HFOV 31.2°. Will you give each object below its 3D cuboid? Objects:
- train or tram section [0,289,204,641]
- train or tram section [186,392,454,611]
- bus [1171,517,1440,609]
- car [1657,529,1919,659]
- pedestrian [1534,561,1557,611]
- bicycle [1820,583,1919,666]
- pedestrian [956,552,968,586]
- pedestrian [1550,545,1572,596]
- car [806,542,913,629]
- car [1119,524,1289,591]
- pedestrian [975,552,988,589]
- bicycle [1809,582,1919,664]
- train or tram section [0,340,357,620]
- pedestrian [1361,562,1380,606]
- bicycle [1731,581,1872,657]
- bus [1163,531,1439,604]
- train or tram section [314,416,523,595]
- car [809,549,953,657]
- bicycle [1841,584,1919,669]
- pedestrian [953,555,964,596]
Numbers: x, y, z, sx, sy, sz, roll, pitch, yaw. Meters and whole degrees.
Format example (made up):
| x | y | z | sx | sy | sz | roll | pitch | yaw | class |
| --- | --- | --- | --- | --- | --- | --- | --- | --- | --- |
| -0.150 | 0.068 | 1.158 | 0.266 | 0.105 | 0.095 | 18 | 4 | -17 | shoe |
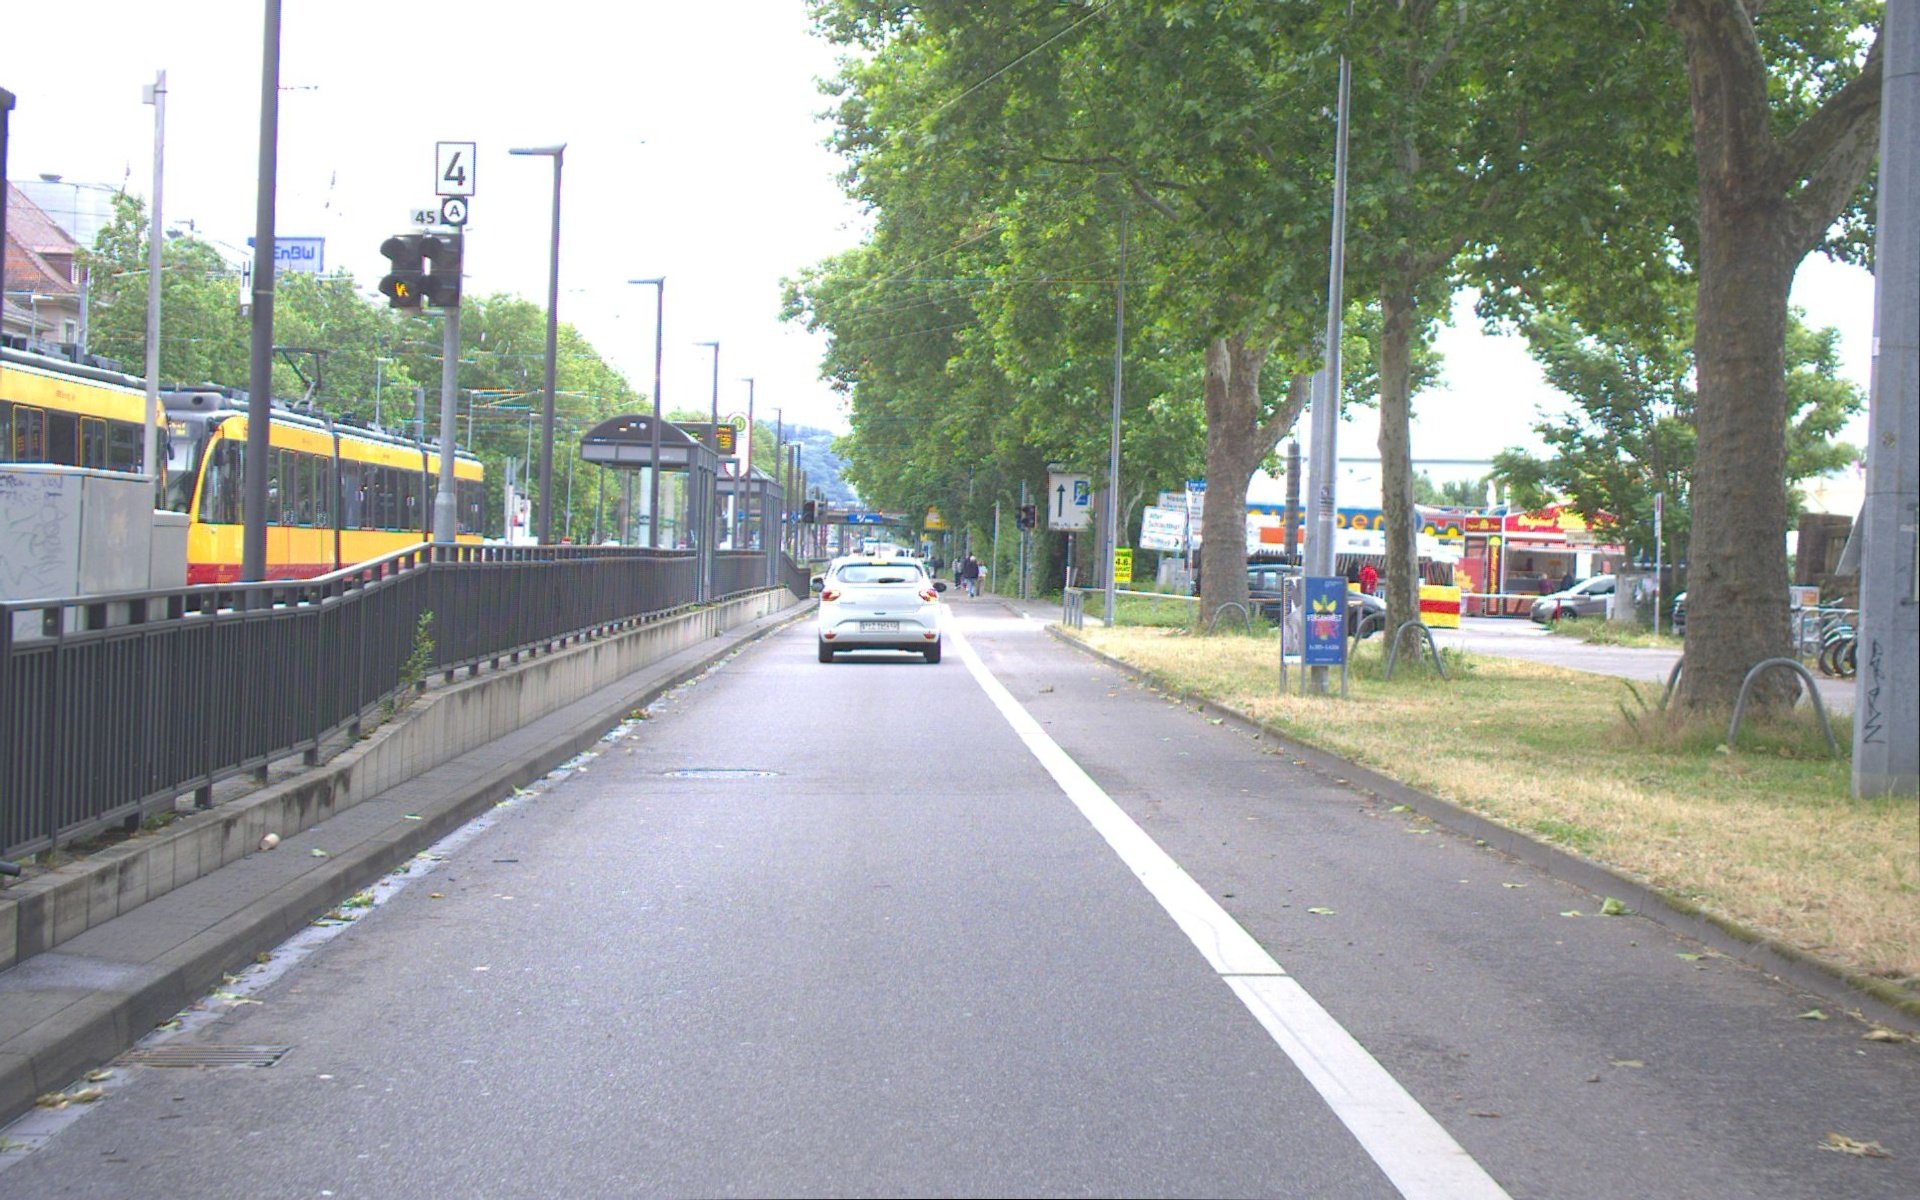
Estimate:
| x | y | z | sx | sy | sz | roll | pitch | yaw | class |
| --- | --- | --- | --- | --- | --- | --- | --- | --- | --- |
| -13.065 | -1.672 | 45.571 | 3.180 | 4.164 | 13.621 | 2 | 0 | -1 | train or tram section |
| -13.581 | -1.972 | 74.500 | 3.180 | 4.164 | 14.735 | 2 | 0 | -1 | train or tram section |
| 12.292 | -1.310 | 122.624 | 9.276 | 2.950 | 2.000 | 2 | 0 | -3 | bus |
| 18.044 | -0.118 | 72.826 | 6.022 | 2.547 | 2.100 | 2 | 0 | -2 | car |
| 19.640 | -0.469 | 115.309 | 0.522 | 1.681 | 0.494 | 2 | 0 | -17 | pedestrian |
| 12.451 | 0.326 | 45.673 | 1.900 | 1.093 | 0.550 | 0 | 0 | -3 | bicycle |
| 0.089 | -1.326 | 146.194 | 0.396 | 1.439 | 0.563 | 2 | 0 | 11 | pedestrian |
| 20.221 | -0.994 | 115.625 | 0.522 | 1.681 | 0.494 | 2 | 0 | -17 | pedestrian |
| -1.851 | -0.292 | 64.315 | 1.841 | 1.546 | 4.000 | 1 | 1 | 0 | car |
| 5.832 | -1.030 | 82.529 | 3.987 | 1.481 | 1.786 | 2 | 1 | 2 | car |
| 0.929 | -1.246 | 146.060 | 0.396 | 1.580 | 0.538 | 2 | 0 | 11 | pedestrian |
| 12.498 | 0.314 | 46.312 | 1.974 | 1.091 | 0.550 | 0 | 0 | -3 | bicycle |
| -13.315 | -1.877 | 59.752 | 3.180 | 4.164 | 14.735 | 2 | 0 | -1 | train or tram section |
| 13.528 | -0.525 | 113.388 | 0.492 | 1.458 | 0.524 | 2 | 0 | -4 | pedestrian |
| 12.293 | 0.278 | 50.251 | 1.921 | 1.087 | 0.550 | 0 | 0 | -3 | bicycle |
| 11.836 | -1.121 | 119.635 | 9.276 | 2.220 | 2.000 | 2 | 0 | -3 | bus |
| -13.822 | -2.296 | 89.172 | 3.180 | 4.164 | 14.735 | 2 | 0 | -1 | train or tram section |
| -1.109 | 0.033 | 49.900 | 1.885 | 1.448 | 4.000 | 2 | 0 | 1 | car |
| 12.571 | 0.345 | 45.098 | 1.889 | 1.101 | 0.550 | 0 | 0 | -3 | bicycle |
| -0.051 | -1.228 | 170.053 | 0.396 | 2.007 | 0.402 | 2 | 0 | 14 | pedestrian |
